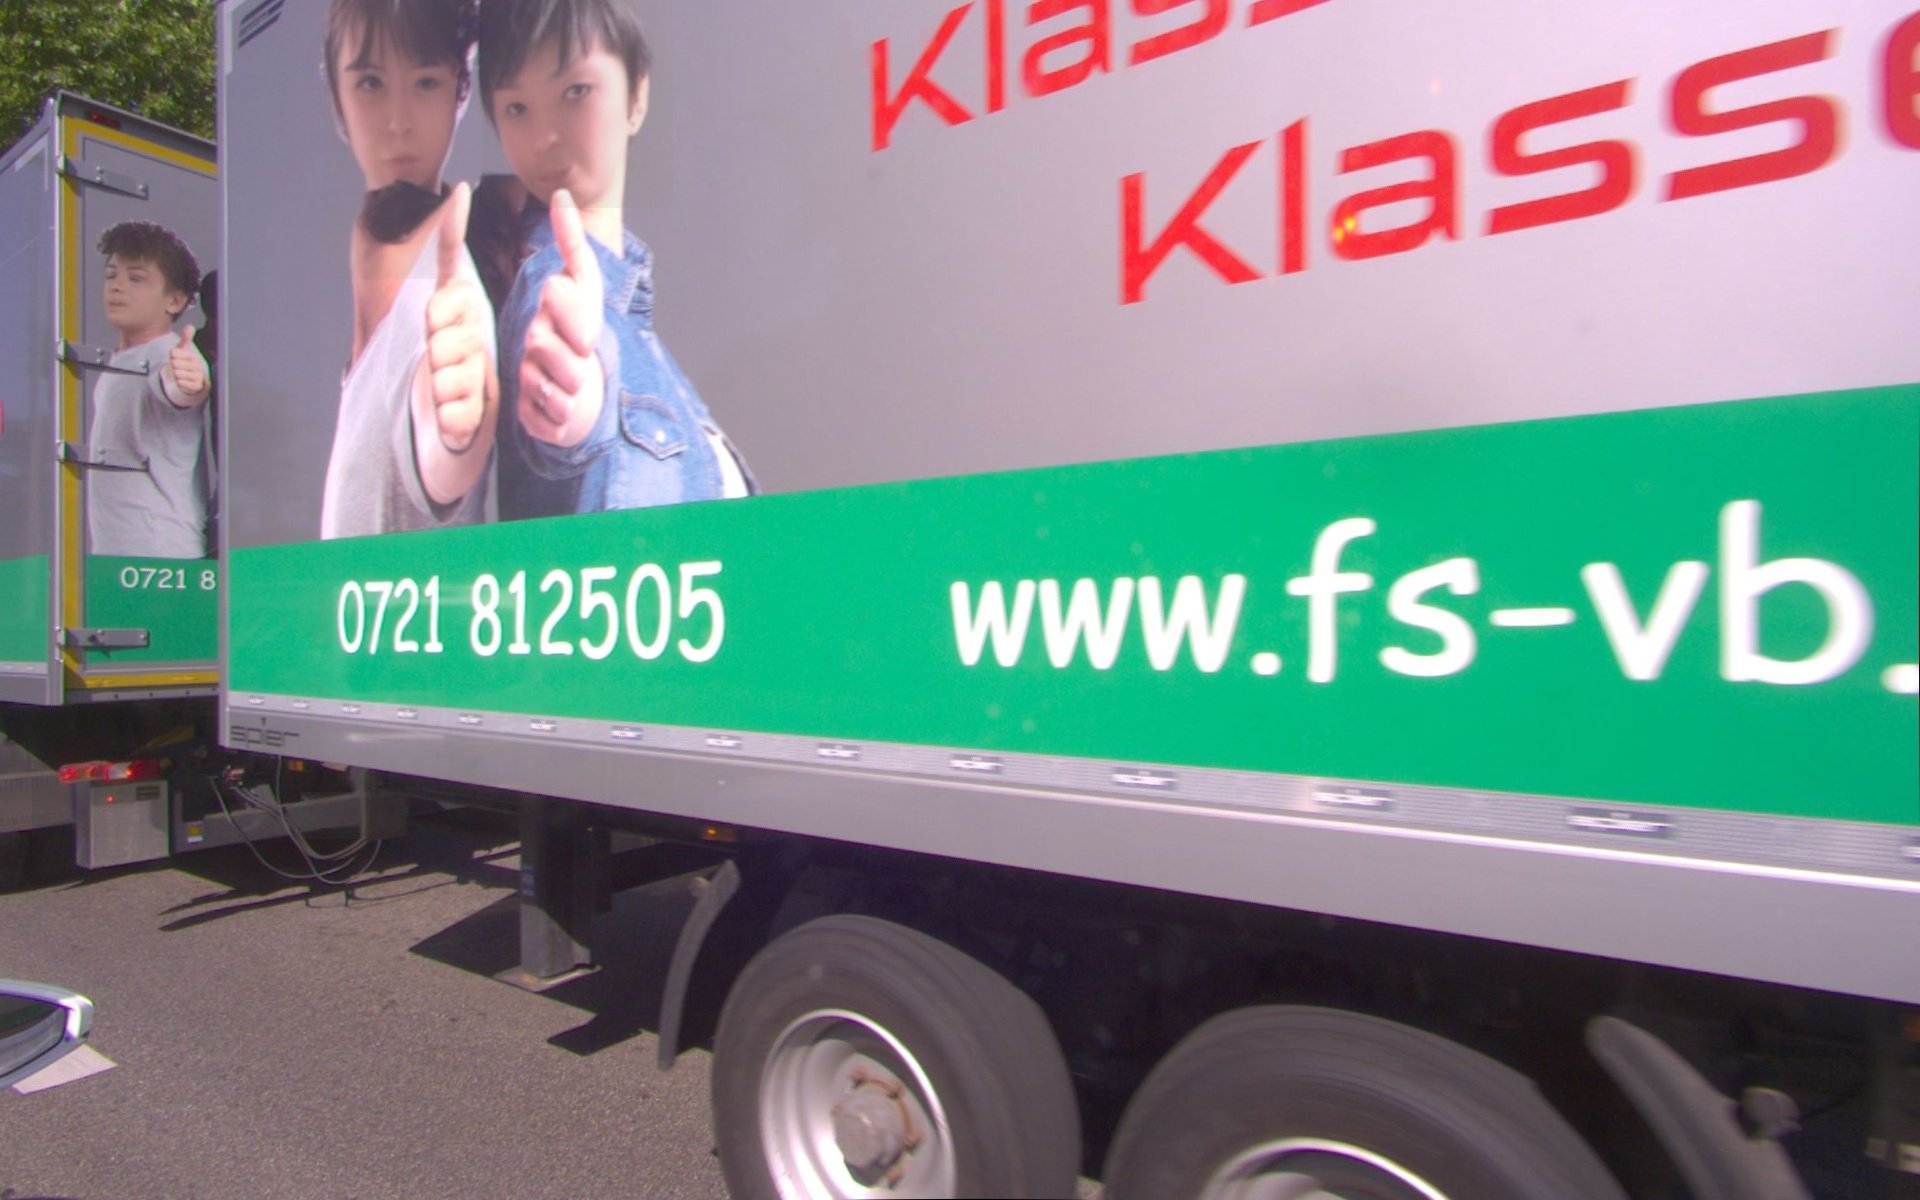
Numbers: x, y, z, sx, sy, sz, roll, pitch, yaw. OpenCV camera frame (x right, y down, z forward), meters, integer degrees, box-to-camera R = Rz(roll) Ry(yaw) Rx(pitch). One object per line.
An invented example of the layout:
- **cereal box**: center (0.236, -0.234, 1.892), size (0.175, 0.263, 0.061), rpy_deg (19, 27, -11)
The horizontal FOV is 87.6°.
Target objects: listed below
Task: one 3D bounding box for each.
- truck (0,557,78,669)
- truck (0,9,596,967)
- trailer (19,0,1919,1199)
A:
- **truck**: center (-32.857, 0.411, 32.432), size (2.864, 3.689, 7.190), rpy_deg (0, -2, -7)
- **truck**: center (-6.632, -0.355, 7.724), size (8.606, 3.940, 2.722), rpy_deg (-1, -1, 35)
- **trailer**: center (0.091, -0.543, 3.069), size (7.630, 3.928, 2.729), rpy_deg (-1, 0, 34)
